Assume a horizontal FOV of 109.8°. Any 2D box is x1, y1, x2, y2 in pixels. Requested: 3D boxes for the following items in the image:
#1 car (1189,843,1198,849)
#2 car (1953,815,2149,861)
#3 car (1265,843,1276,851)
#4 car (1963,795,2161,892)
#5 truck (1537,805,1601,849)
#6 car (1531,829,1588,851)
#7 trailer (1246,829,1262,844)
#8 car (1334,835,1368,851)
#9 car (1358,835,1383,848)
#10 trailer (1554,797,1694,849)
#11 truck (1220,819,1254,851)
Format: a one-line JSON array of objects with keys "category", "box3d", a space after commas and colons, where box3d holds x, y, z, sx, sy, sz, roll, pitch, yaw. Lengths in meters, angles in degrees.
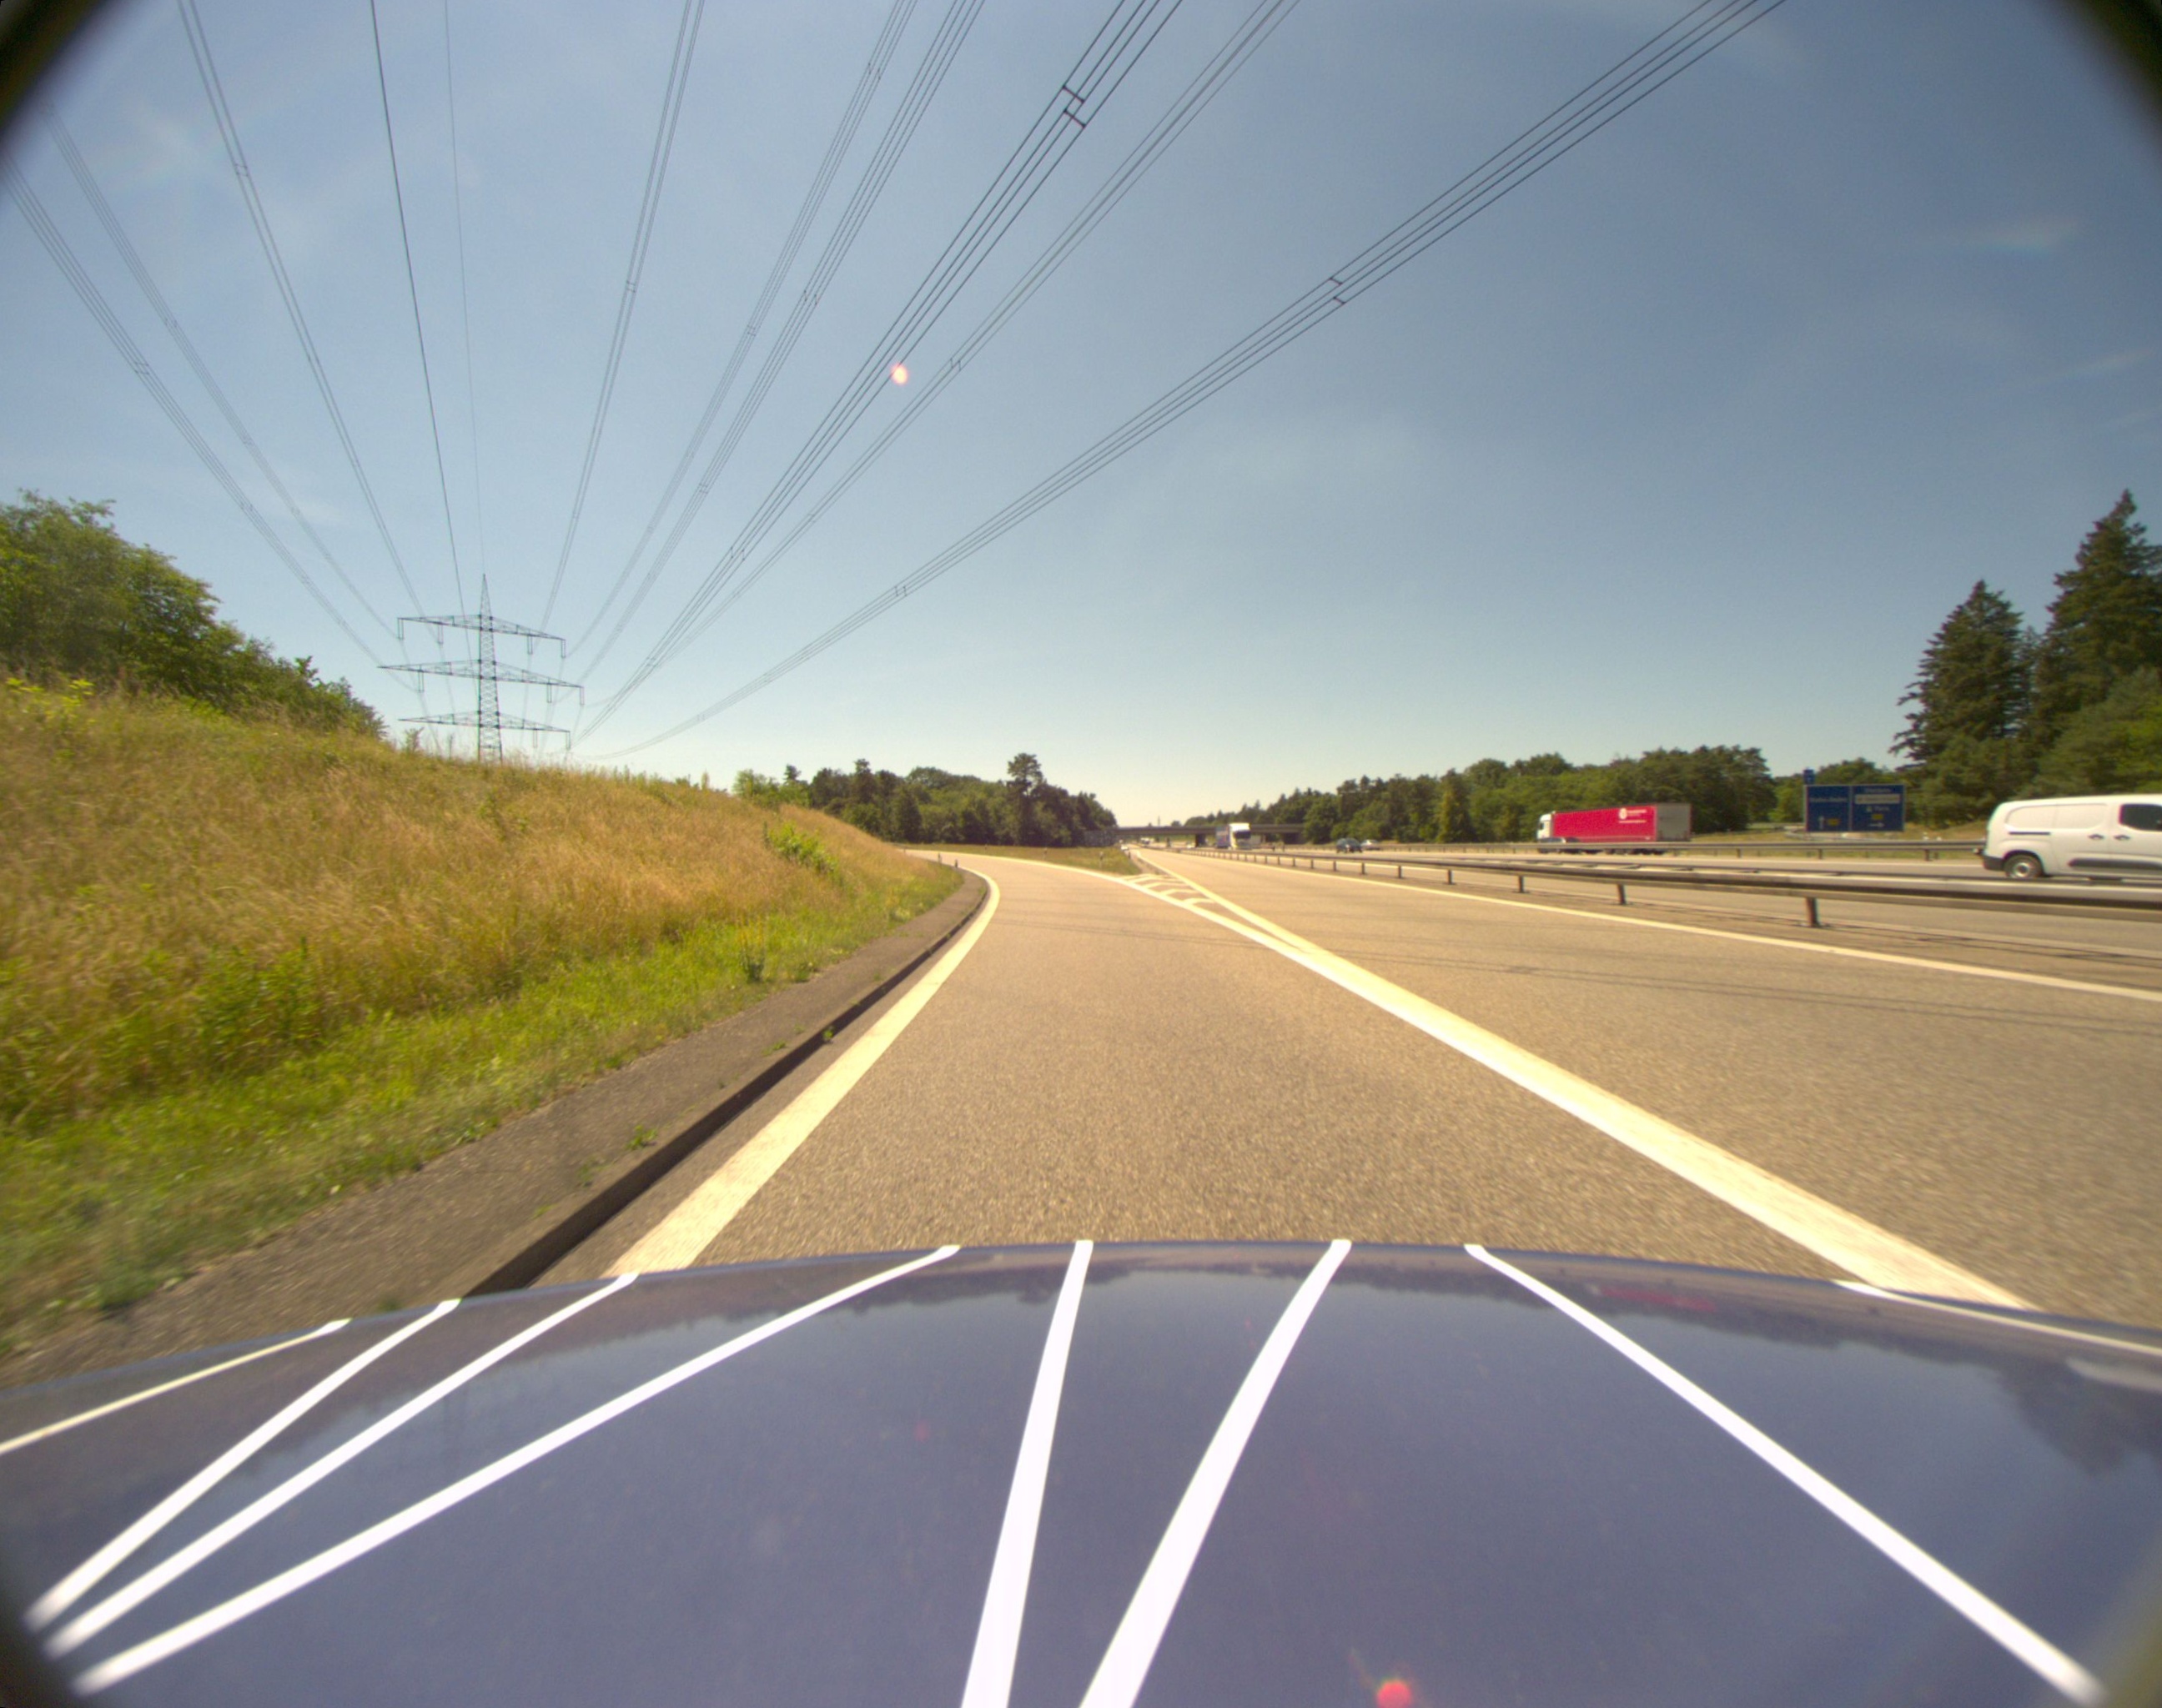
[{"category": "car", "box3d": [32.100, -2.384, 217.328, 1.998, 1.559, 3.999, -2, 1, 0]}, {"category": "car", "box3d": [38.616, -0.675, 30.485, 1.776, 1.675, 4.824, -1, 2, 3]}, {"category": "car", "box3d": [47.072, -1.739, 188.914, 1.965, 1.718, 3.999, 1, 2, 2]}, {"category": "car", "box3d": [20.483, -0.220, 14.423, 1.776, 1.744, 5.020, -1, 1, 3]}, {"category": "truck", "box3d": [45.256, -2.427, 70.640, 2.547, 3.775, 5.669, -1, 0, 3]}, {"category": "car", "box3d": [40.107, -1.236, 63.861, 1.919, 1.675, 4.824, -1, 2, 3]}, {"category": "trailer", "box3d": [54.075, -5.519, 238.284, 2.931, 4.362, 14.299, 1, 1, 5]}, {"category": "car", "box3d": [27.488, -1.140, 77.396, 1.998, 1.467, 4.242, -2, 1, 1]}, {"category": "car", "box3d": [38.896, -1.697, 102.098, 1.775, 1.675, 4.825, -1, 2, 4]}, {"category": "trailer", "box3d": [44.877, -2.378, 63.648, 2.547, 3.775, 13.743, -1, 0, 3]}, {"category": "truck", "box3d": [21.231, -2.549, 104.102, 2.709, 4.035, 11.048, -1, 1, 2]}]
